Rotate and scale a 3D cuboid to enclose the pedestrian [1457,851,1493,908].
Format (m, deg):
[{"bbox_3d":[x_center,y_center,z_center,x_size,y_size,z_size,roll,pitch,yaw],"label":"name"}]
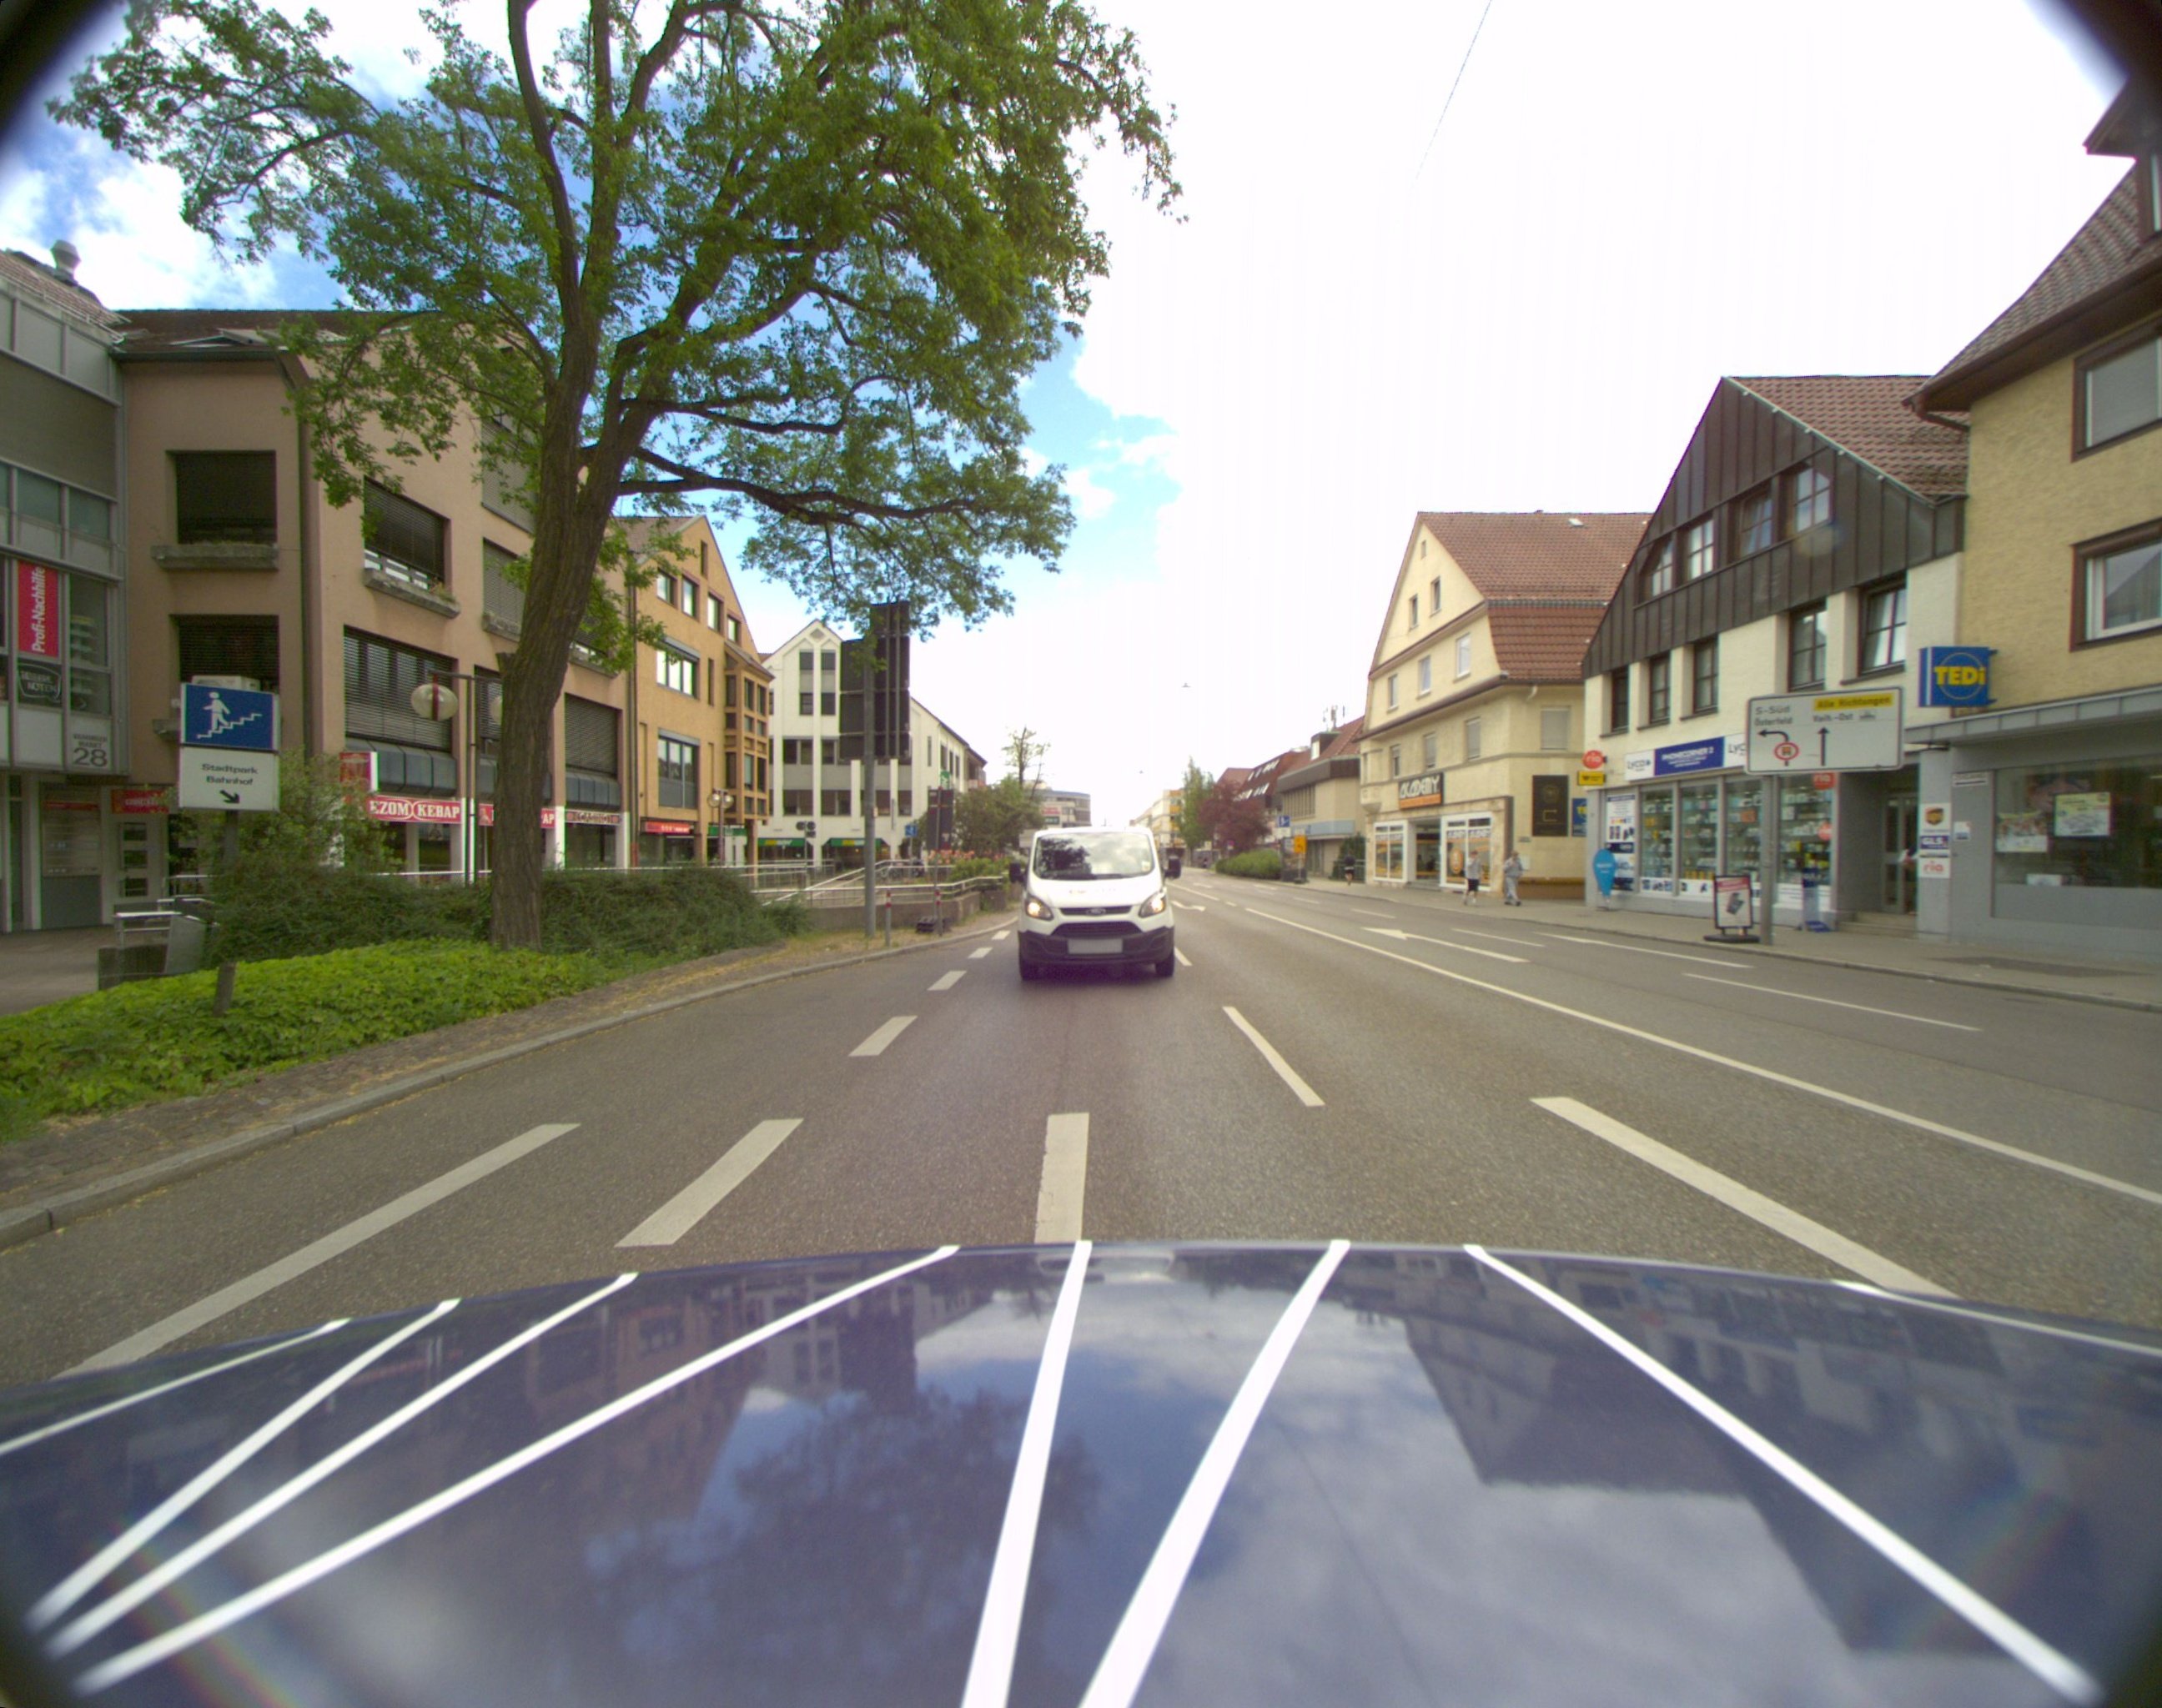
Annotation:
[{"bbox_3d":[11.773,0.747,22.722,0.689,1.680,0.742,-1,1,1],"label":"pedestrian"}]

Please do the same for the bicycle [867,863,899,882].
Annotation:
[{"bbox_3d":[-10.553,0.989,40.525,1.594,0.963,0.461,0,1,-14],"label":"bicycle"}]

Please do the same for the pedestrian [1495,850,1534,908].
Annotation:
[{"bbox_3d":[12.784,0.725,22.419,0.689,1.660,0.709,-3,1,1],"label":"pedestrian"}]

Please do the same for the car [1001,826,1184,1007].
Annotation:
[{"bbox_3d":[0.153,0.693,11.084,1.964,1.948,5.164,-2,0,0],"label":"car"}]

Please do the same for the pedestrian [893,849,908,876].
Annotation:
[{"bbox_3d":[-11.739,0.537,49.456,0.887,1.747,0.943,0,1,-11],"label":"pedestrian"}]

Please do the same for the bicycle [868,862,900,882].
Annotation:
[{"bbox_3d":[-10.282,0.934,39.734,1.594,0.996,0.414,0,1,-13],"label":"bicycle"}]

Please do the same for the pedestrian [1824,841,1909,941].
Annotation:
[{"bbox_3d":[13.945,0.640,13.504,0.688,1.703,0.775,-2,1,1],"label":"pedestrian"}]

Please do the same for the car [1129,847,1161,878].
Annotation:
[{"bbox_3d":[4.107,0.527,49.382,1.748,1.844,4.634,-2,0,1],"label":"car"}]

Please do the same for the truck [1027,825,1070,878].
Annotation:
[{"bbox_3d":[-2.217,-0.201,54.694,2.446,3.464,8.347,-2,1,1],"label":"truck"}]

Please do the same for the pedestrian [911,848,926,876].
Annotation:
[{"bbox_3d":[-10.978,0.545,51.348,0.871,1.812,0.785,-2,1,-3],"label":"pedestrian"}]

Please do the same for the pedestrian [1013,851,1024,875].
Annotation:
[{"bbox_3d":[-4.279,0.605,51.778,0.653,1.568,0.684,-1,1,1],"label":"pedestrian"}]

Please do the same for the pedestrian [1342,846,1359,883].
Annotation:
[{"bbox_3d":[13.641,0.528,38.501,0.551,1.878,0.592,-2,1,-3],"label":"pedestrian"}]

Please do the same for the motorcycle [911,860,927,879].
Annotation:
[{"bbox_3d":[-9.691,0.902,45.491,0.464,1.062,1.995,0,0,1],"label":"motorcycle"}]
